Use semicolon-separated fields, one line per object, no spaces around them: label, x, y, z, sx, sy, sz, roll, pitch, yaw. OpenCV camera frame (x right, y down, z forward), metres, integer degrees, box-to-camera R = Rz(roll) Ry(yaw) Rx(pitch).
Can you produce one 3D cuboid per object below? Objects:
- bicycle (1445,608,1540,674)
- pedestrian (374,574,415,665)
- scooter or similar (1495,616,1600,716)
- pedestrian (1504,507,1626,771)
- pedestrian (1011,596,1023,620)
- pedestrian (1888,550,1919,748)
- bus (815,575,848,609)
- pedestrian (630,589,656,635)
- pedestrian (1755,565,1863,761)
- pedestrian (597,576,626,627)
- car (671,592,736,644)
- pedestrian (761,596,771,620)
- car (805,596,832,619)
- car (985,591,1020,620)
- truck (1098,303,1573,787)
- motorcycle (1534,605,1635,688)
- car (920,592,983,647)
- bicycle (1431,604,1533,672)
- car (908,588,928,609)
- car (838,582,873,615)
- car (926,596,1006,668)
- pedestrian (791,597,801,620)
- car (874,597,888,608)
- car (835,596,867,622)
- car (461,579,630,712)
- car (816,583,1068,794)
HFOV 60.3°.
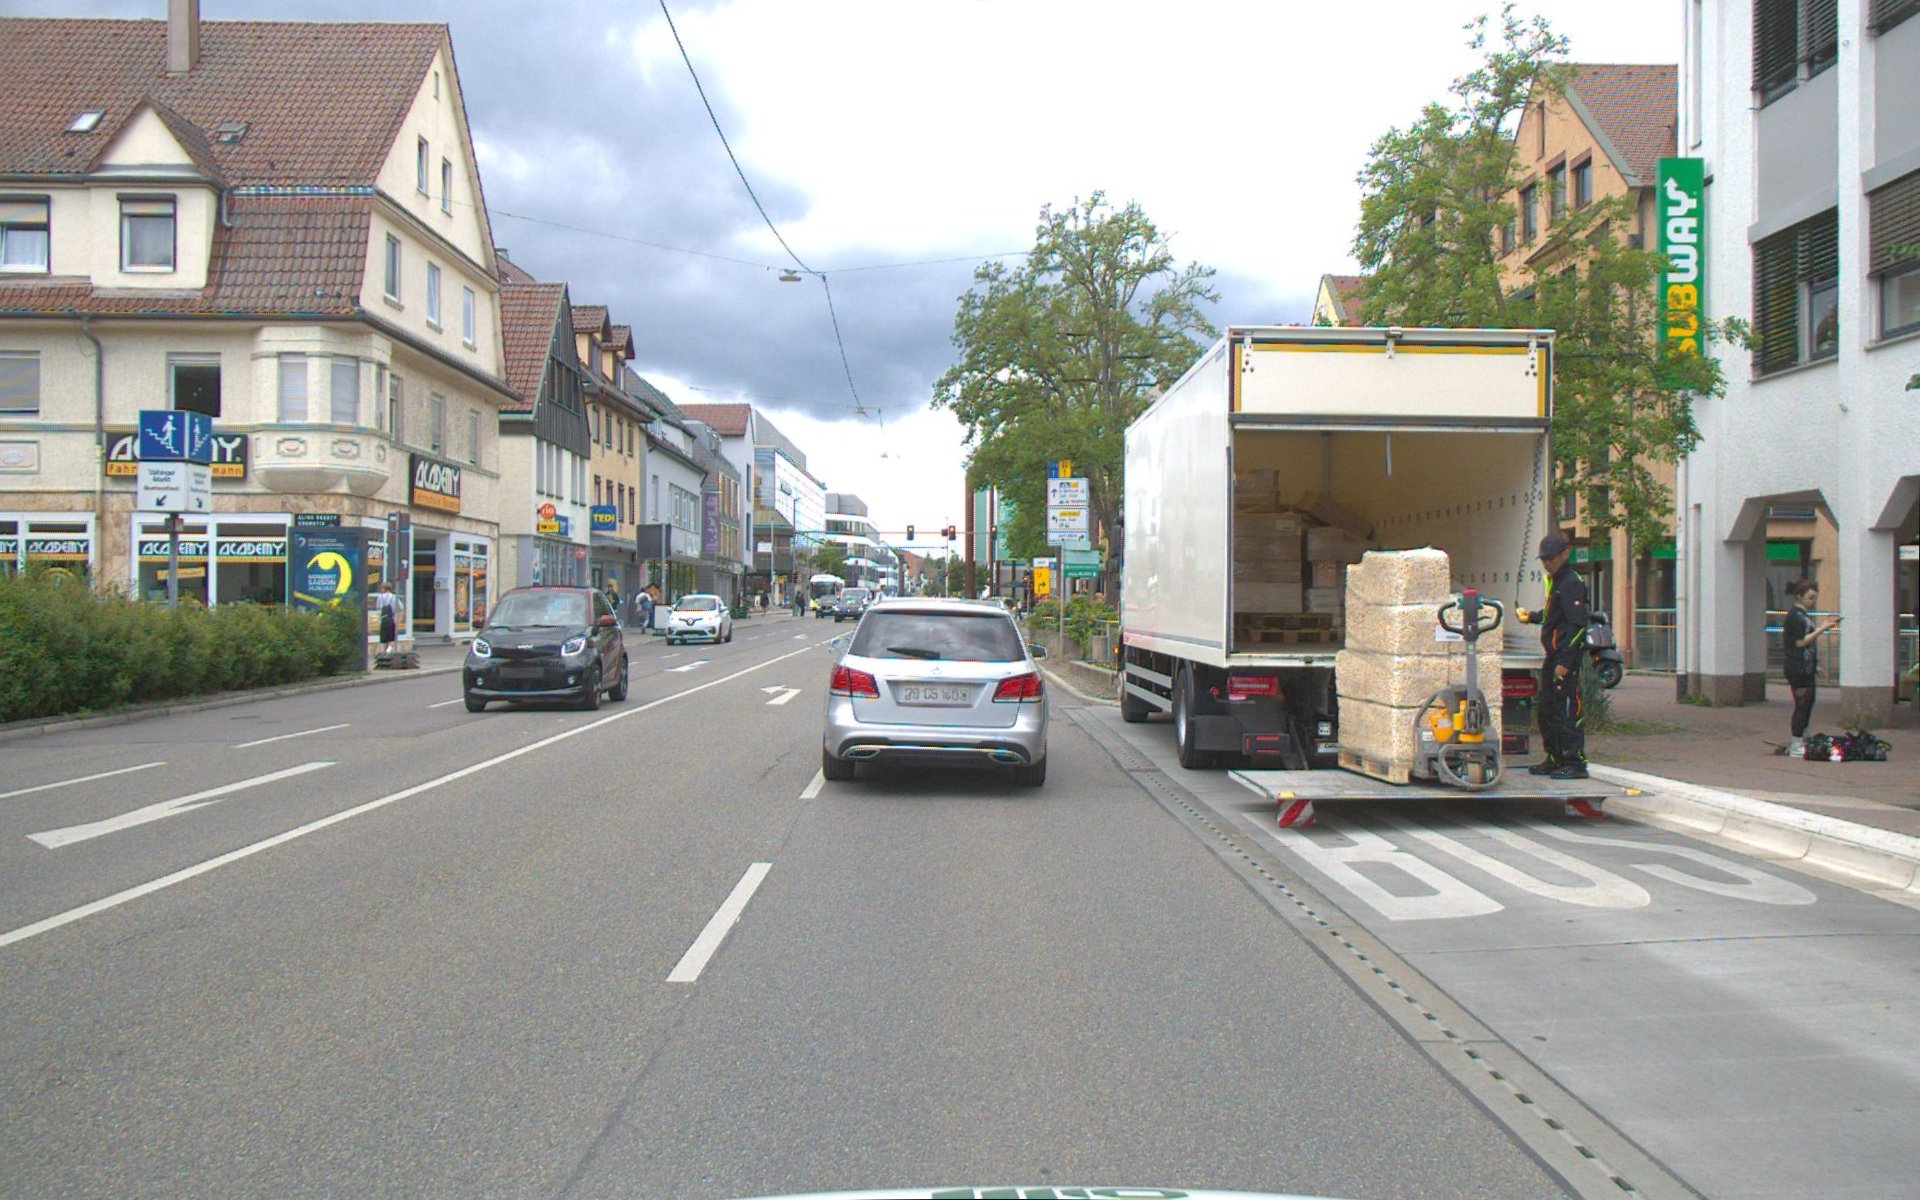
bicycle;10.482;0.799;32.590;1.641;1.281;0.669;0;0;-4
pedestrian;-11.685;0.402;34.185;0.620;1.856;0.680;0;0;-1
scooter or similar;7.269;0.806;20.477;1.154;1.217;0.459;0;0;-10
pedestrian;4.245;0.270;11.639;0.601;1.811;0.587;0;-1;-4
pedestrian;4.071;0.558;118.136;0.602;1.663;0.587;3;0;-9
pedestrian;9.248;0.455;15.471;0.605;1.851;0.761;0;-2;-24
bus;-12.263;-0.740;158.166;2.718;3.220;5.932;0;0;0
pedestrian;-11.782;0.445;61.530;0.801;1.663;0.979;2;0;-6
pedestrian;7.933;0.578;15.465;0.601;1.770;0.587;3;0;-4
pedestrian;-12.582;0.049;59.768;0.850;1.777;0.805;3;0;-5
car;-8.216;0.568;53.213;1.607;1.595;3.925;-1;-1;-2
pedestrian;-13.403;0.540;114.146;0.574;1.663;0.615;3;0;-3
car;-9.811;0.510;114.849;1.584;1.550;3.507;-1;0;-1
car;2.554;0.308;99.745;1.953;1.713;4.000;0;0;0
truck;3.234;-0.425;17.323;2.634;3.623;9.765;0;0;-1
motorcycle;10.169;0.733;27.005;0.722;1.293;2.106;0;0;-4
car;-0.263;0.616;53.865;1.953;1.713;4.000;0;0;0
bicycle;10.561;0.763;33.487;1.780;1.350;0.843;0;0;-4
car;-4.122;-0.176;164.022;1.953;2.049;3.999;0;0;-1
car;-6.644;-0.102;105.798;1.921;1.995;5.139;-1;0;-1
car;0.116;0.694;37.570;1.718;1.547;3.999;0;0;-1
pedestrian;-11.830;0.616;119.342;0.601;1.663;0.588;3;0;-2
car;-9.637;0.329;201.425;1.542;1.266;3.606;0;0;0
car;-6.241;0.476;94.970;1.583;1.453;3.922;0;0;0
car;-5.335;0.551;21.588;1.539;1.567;2.959;-2;0;-3
car;-0.209;0.664;14.214;1.836;1.532;3.998;1;0;-2
